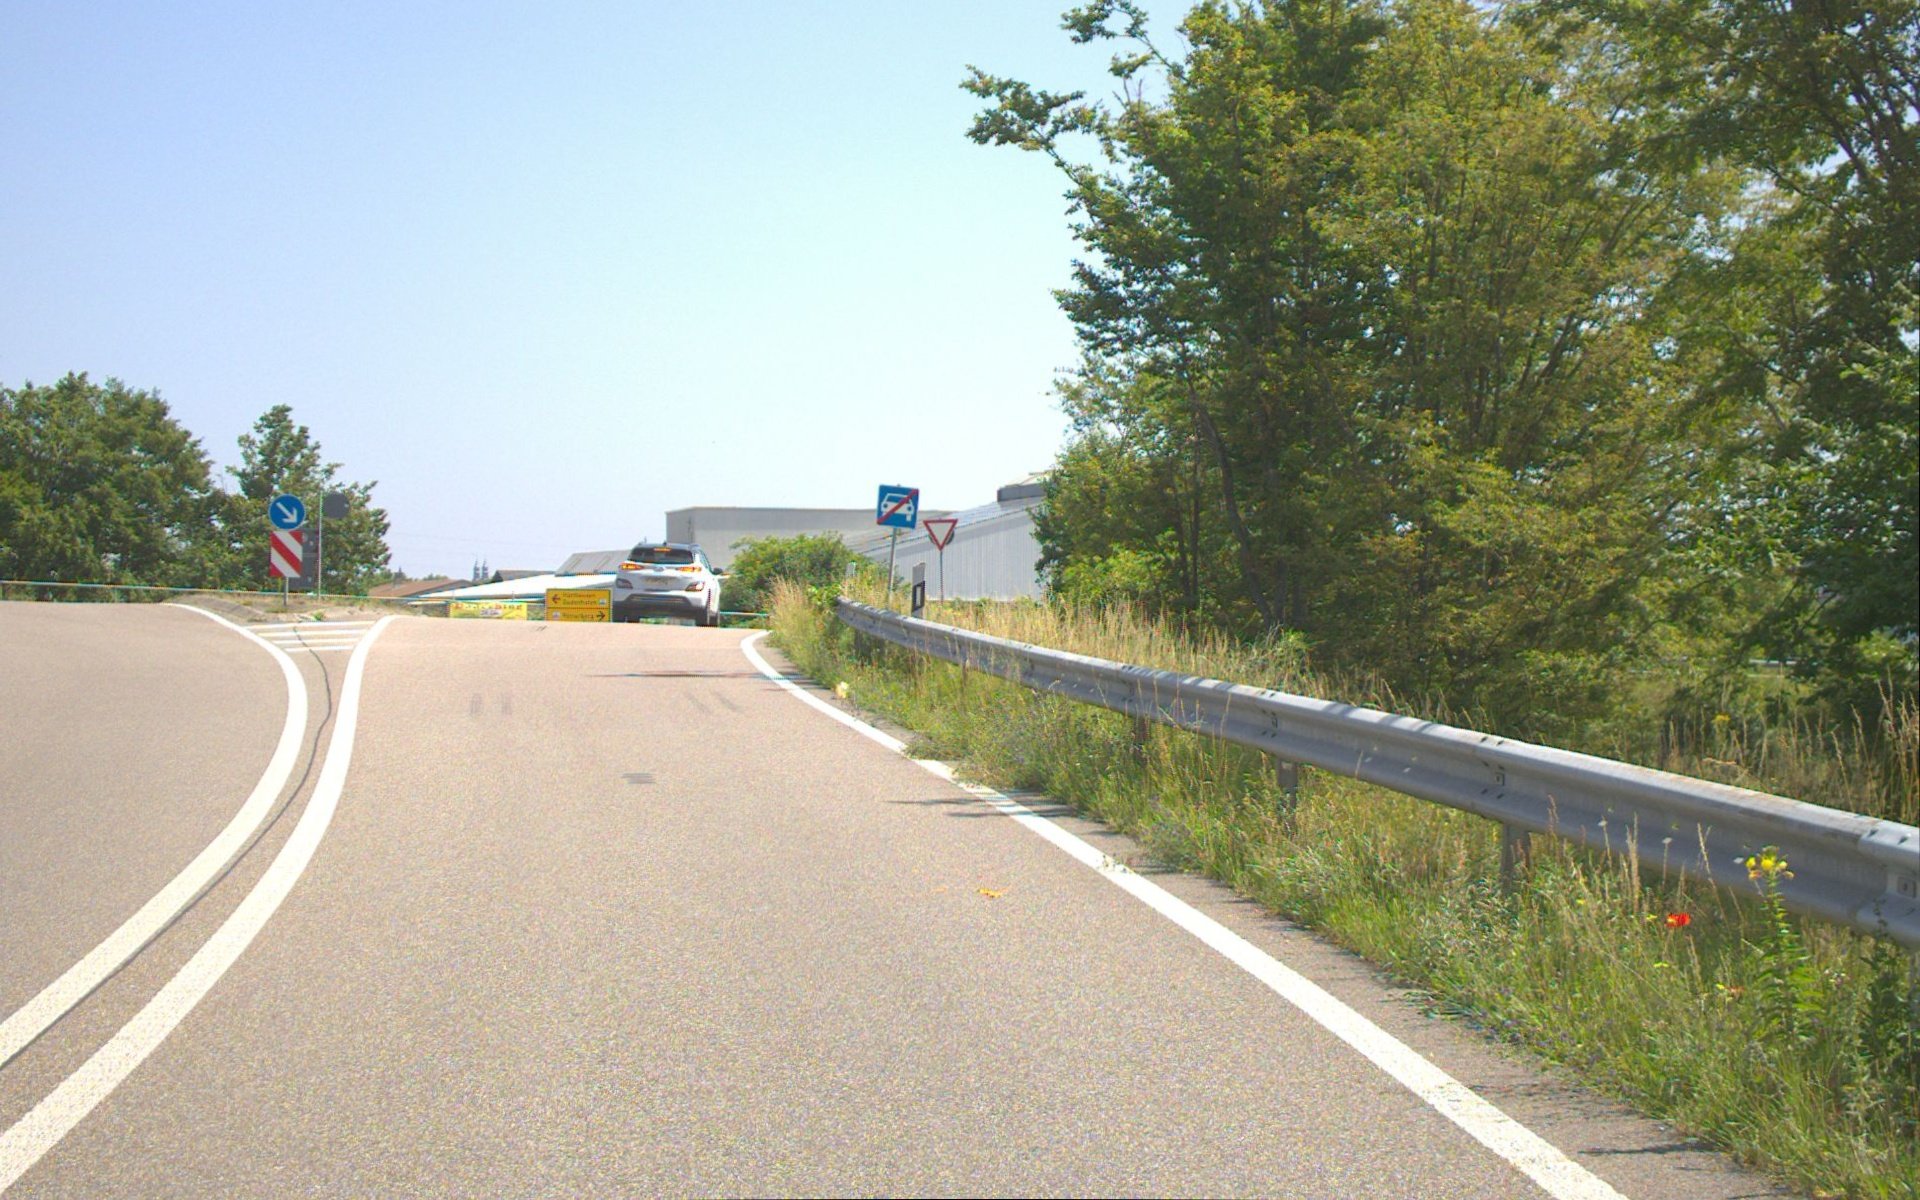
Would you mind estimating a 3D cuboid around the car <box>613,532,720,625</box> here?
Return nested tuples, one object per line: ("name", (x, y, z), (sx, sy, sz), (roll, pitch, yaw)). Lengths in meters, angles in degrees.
("car", (-5.594, -0.402, 65.921), (1.808, 1.685, 4.000), (1, 0, -2))
